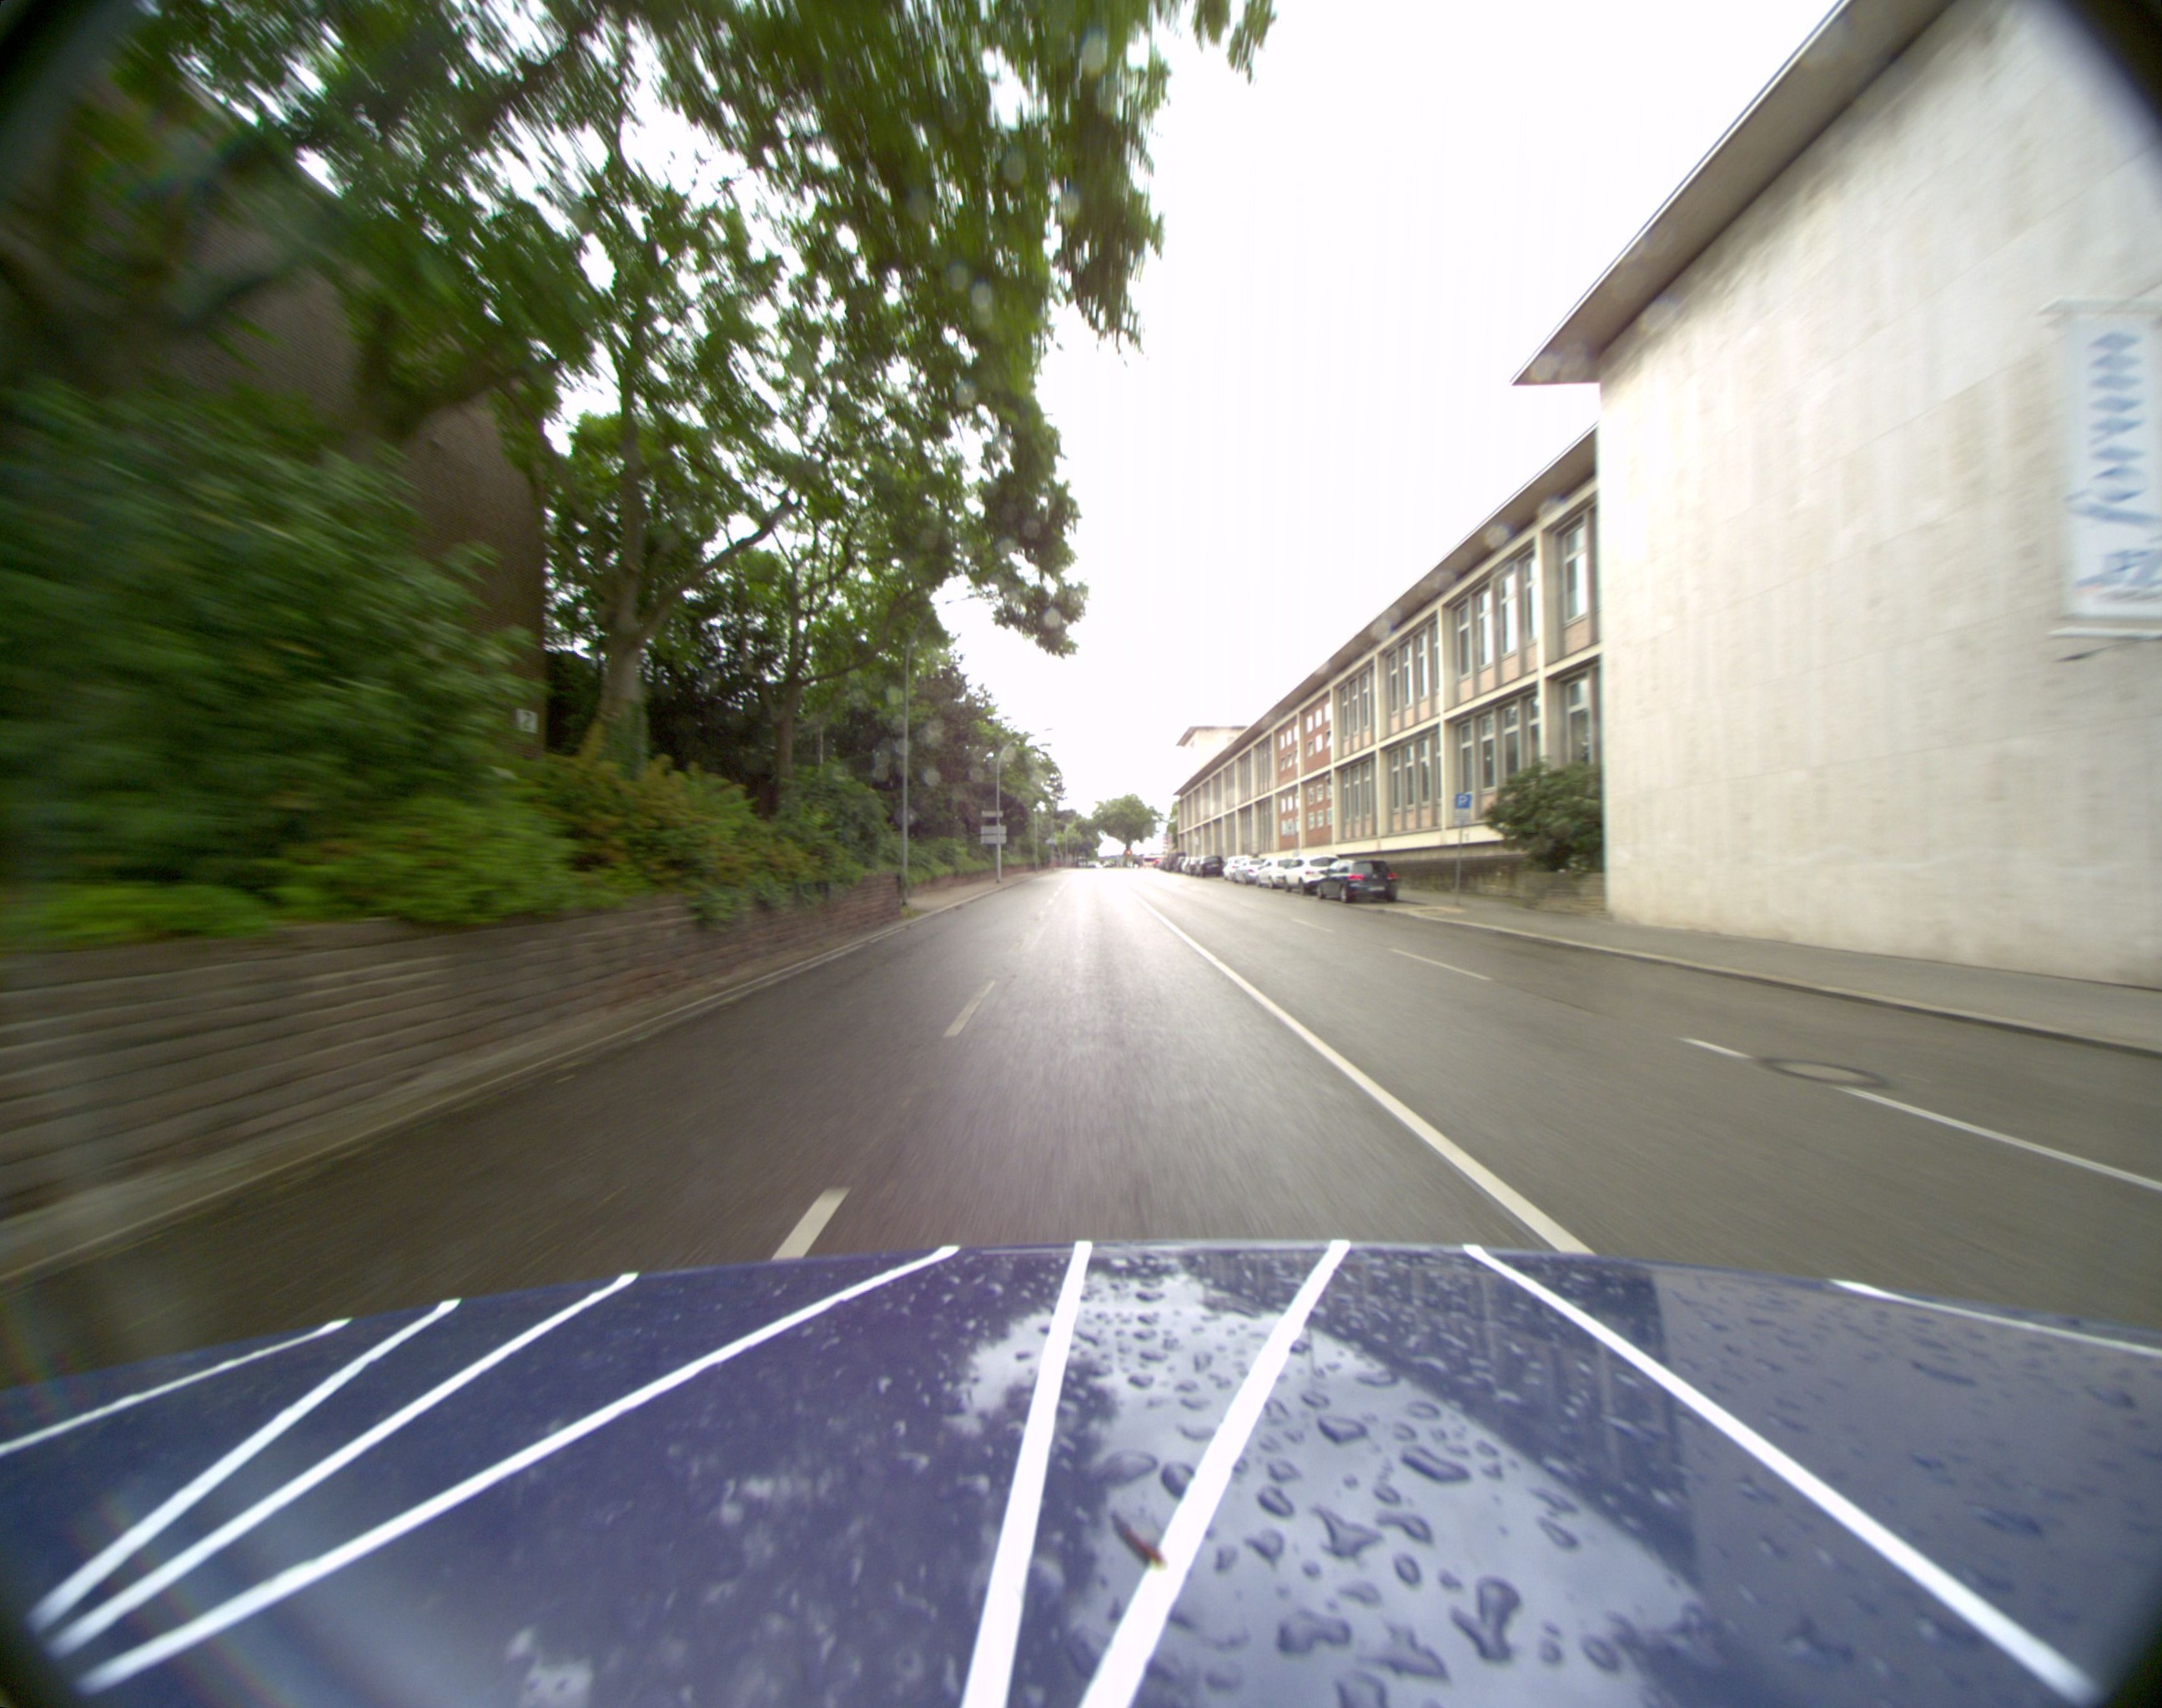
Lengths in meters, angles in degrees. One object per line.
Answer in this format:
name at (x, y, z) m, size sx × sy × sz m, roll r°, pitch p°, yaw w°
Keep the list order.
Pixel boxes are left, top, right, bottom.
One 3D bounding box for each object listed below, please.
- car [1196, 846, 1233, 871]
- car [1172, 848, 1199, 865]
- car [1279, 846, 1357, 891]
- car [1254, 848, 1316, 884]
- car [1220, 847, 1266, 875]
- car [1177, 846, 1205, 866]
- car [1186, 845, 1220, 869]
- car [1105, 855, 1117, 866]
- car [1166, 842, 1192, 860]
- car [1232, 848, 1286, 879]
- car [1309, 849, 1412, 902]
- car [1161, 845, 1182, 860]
car at (9.914, 0.294, 56.703) m, size 1.998 × 1.702 × 3.999 m, roll -3°, pitch 1°, yaw 0°
car at (10.019, 0.218, 73.249) m, size 1.998 × 1.528 × 3.999 m, roll -3°, pitch 1°, yaw 0°
car at (9.773, 0.544, 31.658) m, size 1.998 × 1.632 × 3.999 m, roll -3°, pitch 1°, yaw 1°
car at (9.896, 0.539, 37.172) m, size 1.998 × 1.503 × 3.999 m, roll -3°, pitch 1°, yaw 2°
car at (10.191, 0.415, 48.101) m, size 1.999 × 1.521 × 3.999 m, roll -3°, pitch 1°, yaw 0°
car at (9.957, 0.148, 69.054) m, size 1.998 × 1.570 × 3.999 m, roll -3°, pitch 1°, yaw 0°
car at (9.829, 0.229, 61.610) m, size 1.999 × 1.724 × 3.998 m, roll -3°, pitch 1°, yaw -1°
car at (5.822, 1.224, 147.928) m, size 1.805 × 2.002 × 3.997 m, roll -3°, pitch 1°, yaw -5°
car at (9.984, -0.331, 77.780) m, size 1.999 × 1.637 × 3.998 m, roll -4°, pitch 2°, yaw -1°
car at (9.837, 0.482, 42.321) m, size 1.998 × 1.482 × 4.185 m, roll -3°, pitch 1°, yaw 1°
car at (9.594, 0.679, 26.454) m, size 1.999 × 1.521 × 3.998 m, roll -3°, pitch 1°, yaw -1°
car at (10.296, -0.229, 86.994) m, size 1.998 × 1.523 × 3.999 m, roll -3°, pitch 1°, yaw 2°
